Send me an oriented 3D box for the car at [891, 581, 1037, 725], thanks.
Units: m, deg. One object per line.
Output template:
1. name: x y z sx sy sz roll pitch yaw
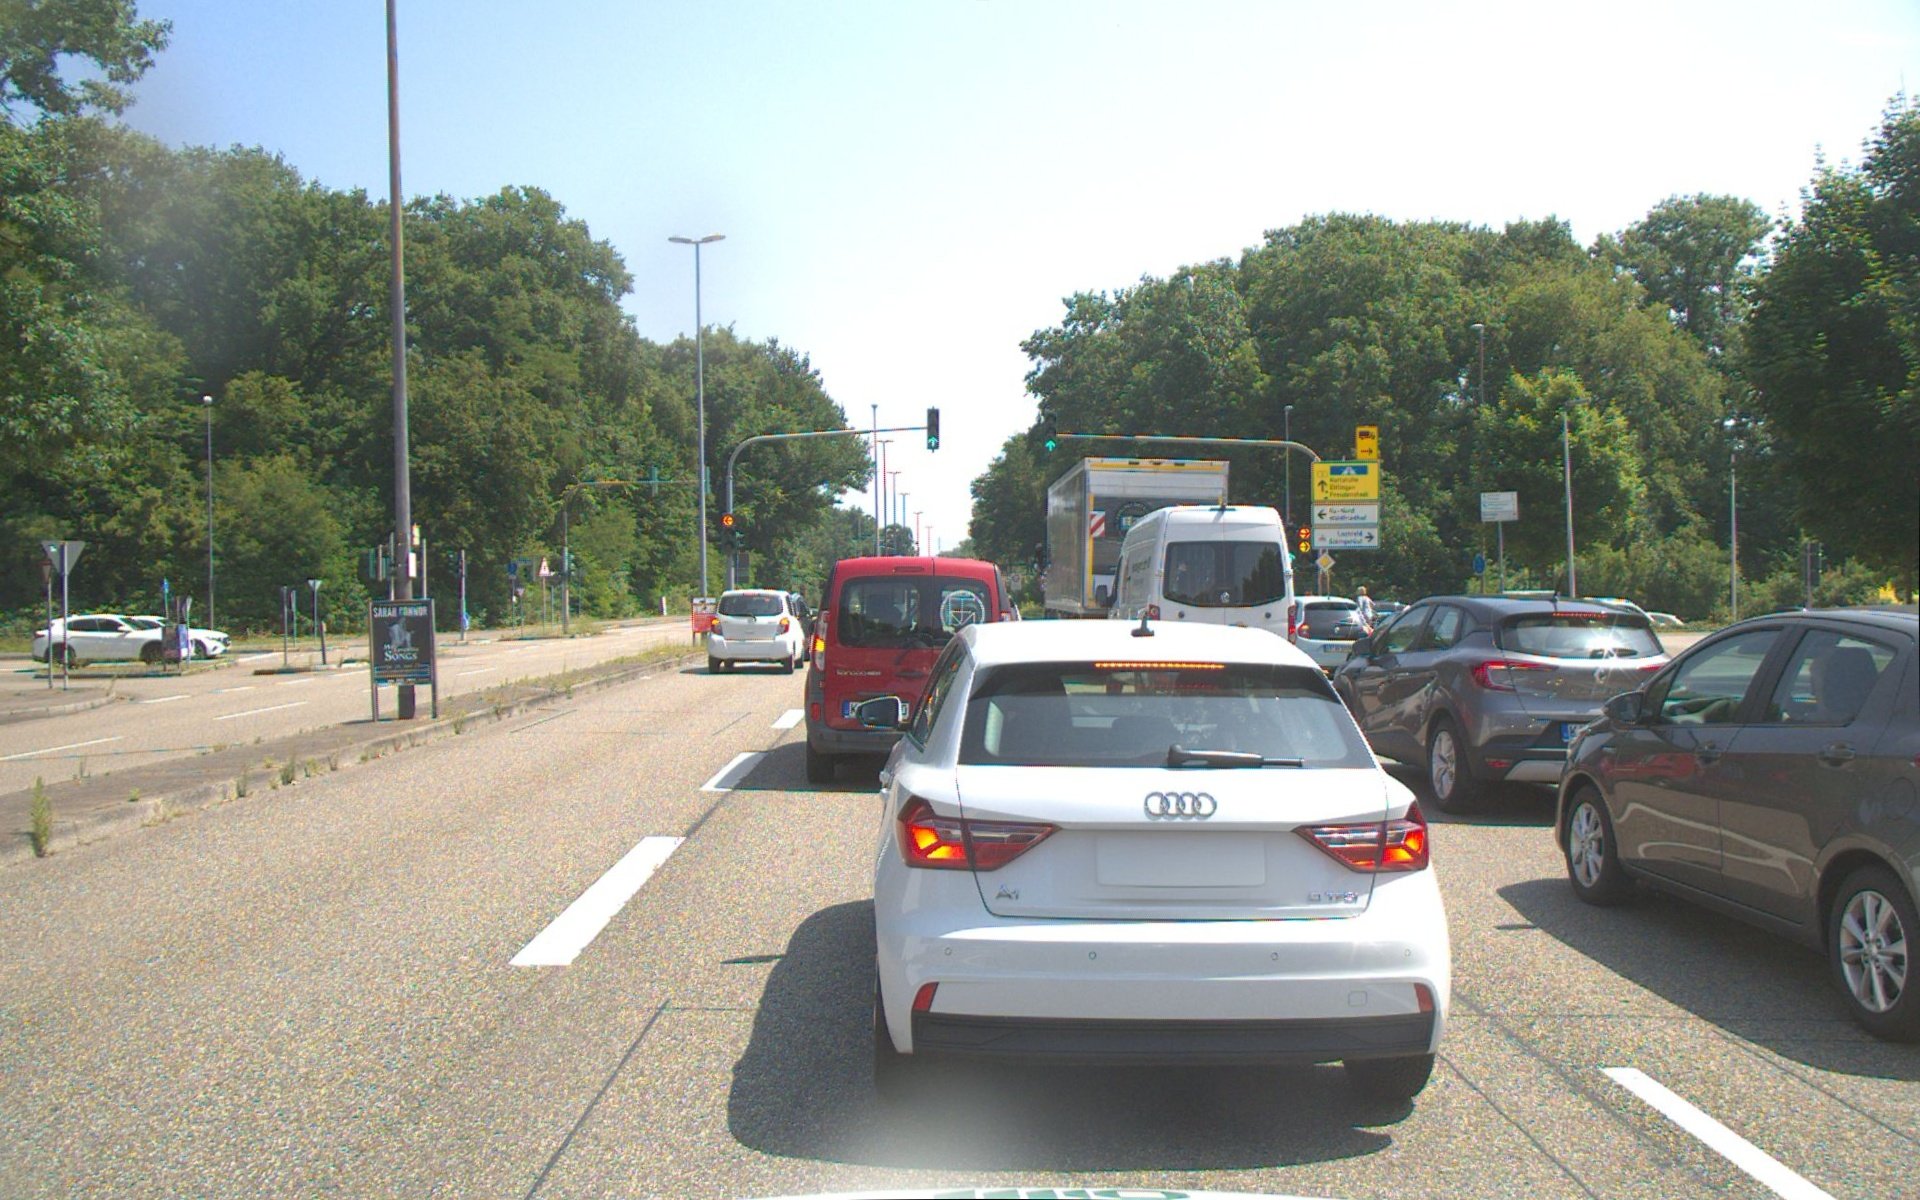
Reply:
1. car: -0.035 0.608 21.146 1.677 1.660 4.090 0 0 -3

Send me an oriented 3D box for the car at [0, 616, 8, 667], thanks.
1. car: -34.466 1.359 55.142 4.294 1.711 1.805 1 -1 -13

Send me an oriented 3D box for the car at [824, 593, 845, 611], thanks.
1. car: -13.011 0.211 171.244 1.953 1.803 4.203 -1 0 -2

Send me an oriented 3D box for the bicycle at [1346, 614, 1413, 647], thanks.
1. bicycle: 10.891 0.783 42.948 1.803 0.779 0.594 -1 0 -32

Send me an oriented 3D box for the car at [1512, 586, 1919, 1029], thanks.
1. car: 4.052 0.739 7.271 1.678 1.504 4.090 3 0 -3

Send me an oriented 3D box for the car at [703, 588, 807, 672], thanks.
1. car: -3.904 0.539 32.015 1.677 1.519 4.090 0 0 -3

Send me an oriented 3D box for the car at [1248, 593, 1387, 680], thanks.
1. car: 6.902 0.661 32.324 1.677 1.573 4.090 0 0 -3

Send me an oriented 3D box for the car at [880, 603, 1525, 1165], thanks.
1. car: 0.546 0.732 6.316 1.677 1.410 4.090 0 0 -3

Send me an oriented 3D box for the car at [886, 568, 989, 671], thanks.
1. car: -0.452 0.312 28.833 1.677 1.660 4.090 0 0 -3

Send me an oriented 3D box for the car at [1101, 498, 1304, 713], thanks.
1. car: 3.258 0.064 23.174 1.990 2.690 4.843 0 0 -2

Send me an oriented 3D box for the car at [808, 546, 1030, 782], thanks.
1. car: -0.396 0.476 14.576 1.677 1.779 4.090 0 0 -3

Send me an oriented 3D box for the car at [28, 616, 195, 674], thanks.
1. car: -26.741 1.409 52.260 4.290 1.711 1.807 1 -1 -9

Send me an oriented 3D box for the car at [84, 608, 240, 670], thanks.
1. car: -27.003 1.294 56.075 4.291 1.710 1.807 -4 0 -9

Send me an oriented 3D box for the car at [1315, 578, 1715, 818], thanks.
1. car: 4.204 0.653 13.235 1.677 1.621 4.090 0 0 -3

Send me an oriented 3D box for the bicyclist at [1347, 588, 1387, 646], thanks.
1. bicyclist: 10.513 0.432 42.760 0.818 1.464 0.593 -1 0 -32

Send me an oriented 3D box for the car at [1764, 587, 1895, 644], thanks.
1. car: 32.923 0.577 62.694 3.906 2.049 2.000 -1 0 -1

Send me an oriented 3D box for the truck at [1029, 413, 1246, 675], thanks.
1. truck: 3.323 -0.996 34.435 3.026 4.511 11.577 1 0 -1

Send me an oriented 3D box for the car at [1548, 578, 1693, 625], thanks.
1. car: 23.339 0.055 58.521 4.381 1.557 1.797 -1 0 -2
